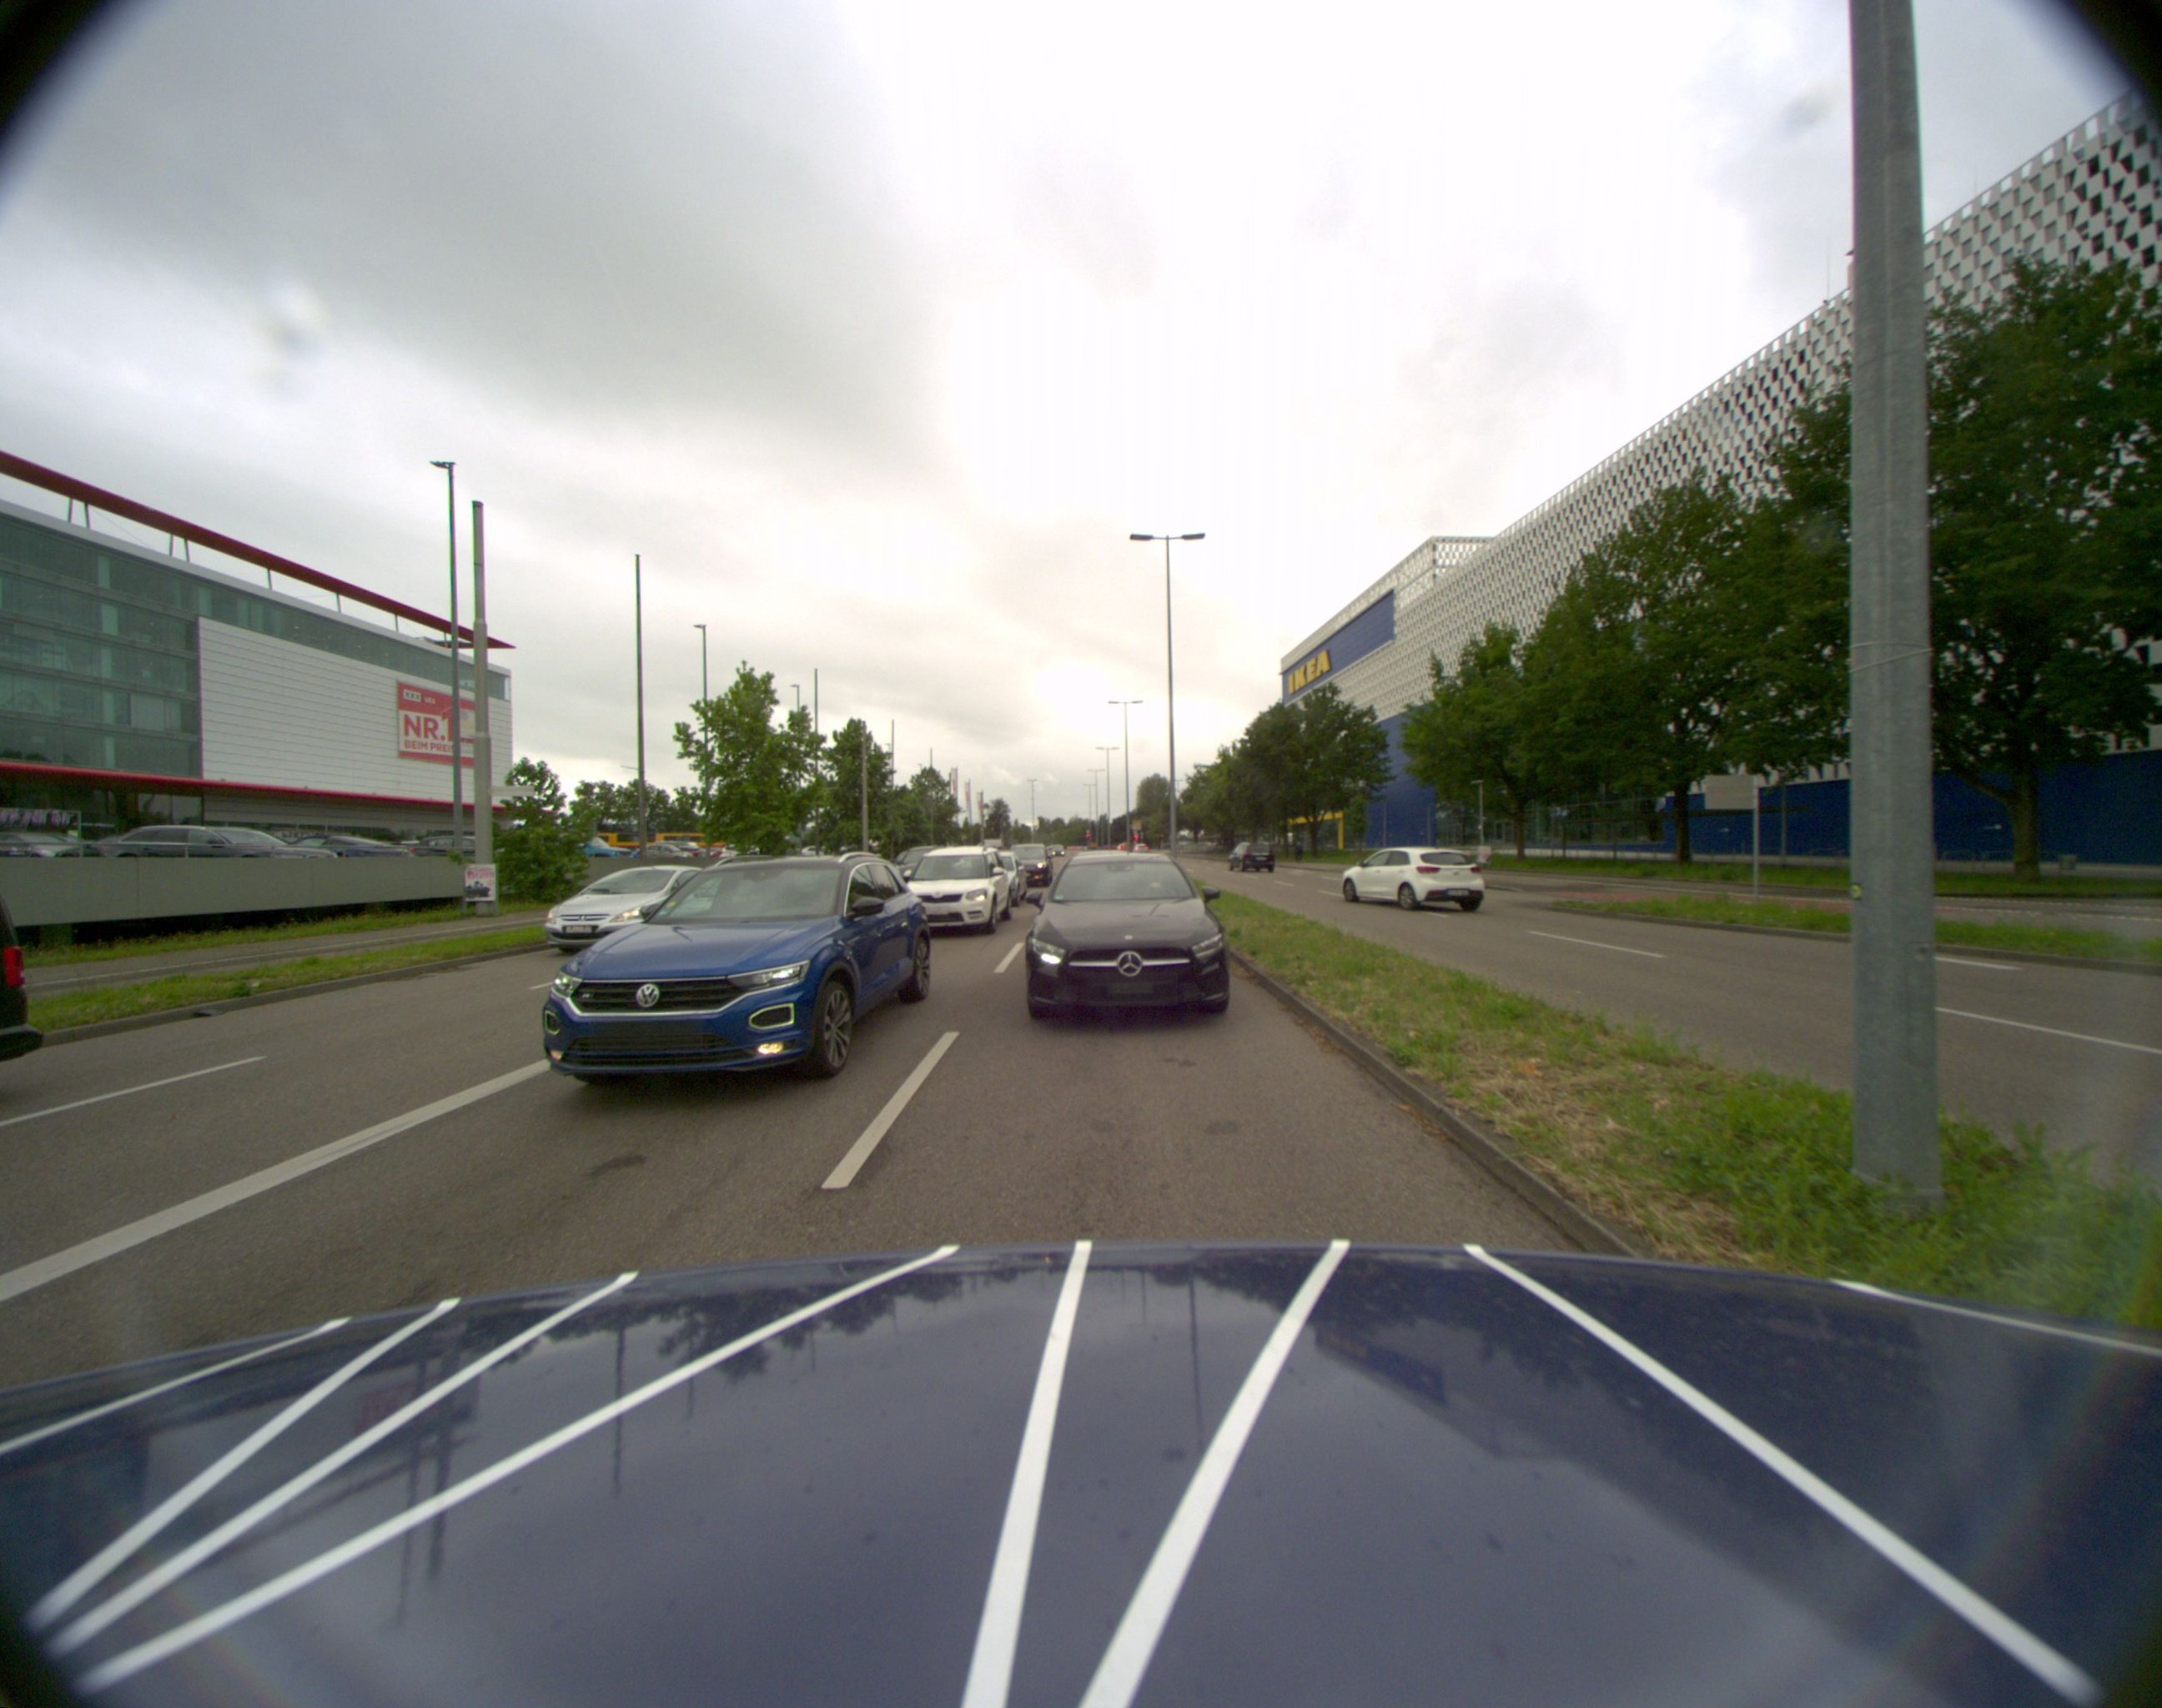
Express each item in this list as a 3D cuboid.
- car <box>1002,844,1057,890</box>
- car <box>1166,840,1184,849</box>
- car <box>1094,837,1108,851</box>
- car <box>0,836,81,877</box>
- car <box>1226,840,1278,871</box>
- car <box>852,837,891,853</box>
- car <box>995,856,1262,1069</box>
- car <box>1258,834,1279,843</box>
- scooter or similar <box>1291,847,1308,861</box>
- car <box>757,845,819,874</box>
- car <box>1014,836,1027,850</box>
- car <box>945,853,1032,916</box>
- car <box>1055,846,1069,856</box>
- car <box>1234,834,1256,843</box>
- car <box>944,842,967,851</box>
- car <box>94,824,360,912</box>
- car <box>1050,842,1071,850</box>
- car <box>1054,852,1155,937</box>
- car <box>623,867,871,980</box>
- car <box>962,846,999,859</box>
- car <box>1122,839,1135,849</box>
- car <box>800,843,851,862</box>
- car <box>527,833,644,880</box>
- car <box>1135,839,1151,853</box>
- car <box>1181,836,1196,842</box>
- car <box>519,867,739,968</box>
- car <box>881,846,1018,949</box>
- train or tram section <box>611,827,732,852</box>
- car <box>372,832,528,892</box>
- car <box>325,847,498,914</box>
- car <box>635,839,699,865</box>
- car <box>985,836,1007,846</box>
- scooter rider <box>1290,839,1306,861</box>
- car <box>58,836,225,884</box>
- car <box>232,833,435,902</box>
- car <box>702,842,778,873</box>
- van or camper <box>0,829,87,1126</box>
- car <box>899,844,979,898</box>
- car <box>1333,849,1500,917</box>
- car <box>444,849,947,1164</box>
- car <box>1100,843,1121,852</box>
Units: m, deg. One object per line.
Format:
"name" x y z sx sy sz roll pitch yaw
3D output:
"car" -1.995 0.453 30.490 1.801 1.565 4.218 -3 2 1
"car" 21.820 -2.176 176.258 3.997 2.002 1.999 -3 2 -2
"car" 3.197 -1.666 122.734 1.999 2.207 3.999 -1 1 -2
"car" -48.023 0.160 33.869 3.998 1.729 1.999 -3 2 -2
"car" 9.696 0.041 43.398 1.847 1.646 4.359 1 1 -2
"car" -24.127 -1.054 87.578 3.997 1.557 1.796 -3 2 1
"car" 0.372 0.784 7.556 1.859 1.426 4.196 -3 0 1
"car" 40.401 -3.328 163.606 3.999 1.806 1.998 -3 2 -7
"scooter or similar" 17.476 -0.001 60.716 0.590 1.119 1.423 -5 2 -16
"car" -23.205 0.426 60.288 3.997 2.002 1.999 -3 2 0
"car" -9.864 -1.810 124.409 1.999 2.229 3.999 -1 1 -2
"car" -2.453 0.761 21.201 1.801 1.408 4.218 -3 2 1
"car" -2.913 -0.539 117.349 1.801 1.408 4.218 -3 2 1
"car" 30.366 -2.855 140.641 3.565 1.631 1.742 -3 2 -3
"car" -29.616 -1.826 179.246 5.089 2.002 1.999 -3 2 -2
"car" -22.458 0.323 20.164 4.529 2.002 1.999 -3 2 -2
"car" -4.853 -1.975 179.819 4.712 1.739 1.997 -3 2 -12
"car" 0.458 0.734 15.954 1.767 1.371 4.258 -3 1 1
"car" -5.207 0.985 12.730 1.816 1.403 4.878 -2 0 2
"car" -12.197 -0.224 92.751 4.216 1.408 1.802 -3 2 0
"car" 8.265 -1.738 132.858 1.847 1.709 3.923 -3 2 -1
"car" -23.586 -0.137 70.122 3.997 1.557 1.796 -3 2 1
"car" -23.104 0.092 35.566 3.997 2.002 1.999 -3 2 -2
"car" 8.835 -1.227 108.566 1.847 1.876 3.923 -3 2 -1
"car" 34.323 -4.723 242.465 4.290 1.813 1.742 -3 2 -3
"car" -8.022 1.036 13.977 1.694 1.364 3.925 -3 2 -1
"car" -2.426 0.722 15.163 1.798 1.616 4.373 -2 2 2
"train or tram section" -87.585 -3.109 162.788 23.275 4.811 3.631 -2 2 -3
"car" -23.511 0.274 28.437 3.997 2.002 1.999 -3 2 -2
"car" -22.943 0.871 26.166 3.997 2.002 1.999 -3 2 -2
"car" -34.049 -0.182 62.561 3.997 2.002 1.999 -3 2 -2
"car" -19.860 -3.078 177.309 4.712 2.002 1.997 -3 2 -13
"scooter rider" 17.414 -0.315 60.923 0.797 1.710 1.037 -2 2 -16
"car" -37.819 0.206 30.677 3.998 1.729 1.999 -3 2 -2
"car" -22.619 0.360 23.151 3.998 1.838 1.999 -3 2 -2
"car" -24.006 0.226 53.596 4.324 2.002 1.999 -3 2 -2
"van or camper" -8.624 0.941 3.157 2.161 2.002 4.944 -2 2 6
"car" -4.888 0.512 26.761 1.798 1.616 4.373 -2 2 2
"car" 7.978 0.618 18.499 1.787 1.444 3.928 0 1 -11
"car" -2.533 0.846 6.406 1.846 1.613 4.331 -2 2 2
"car" 7.101 -1.683 185.000 4.709 2.002 1.998 -3 2 -6
